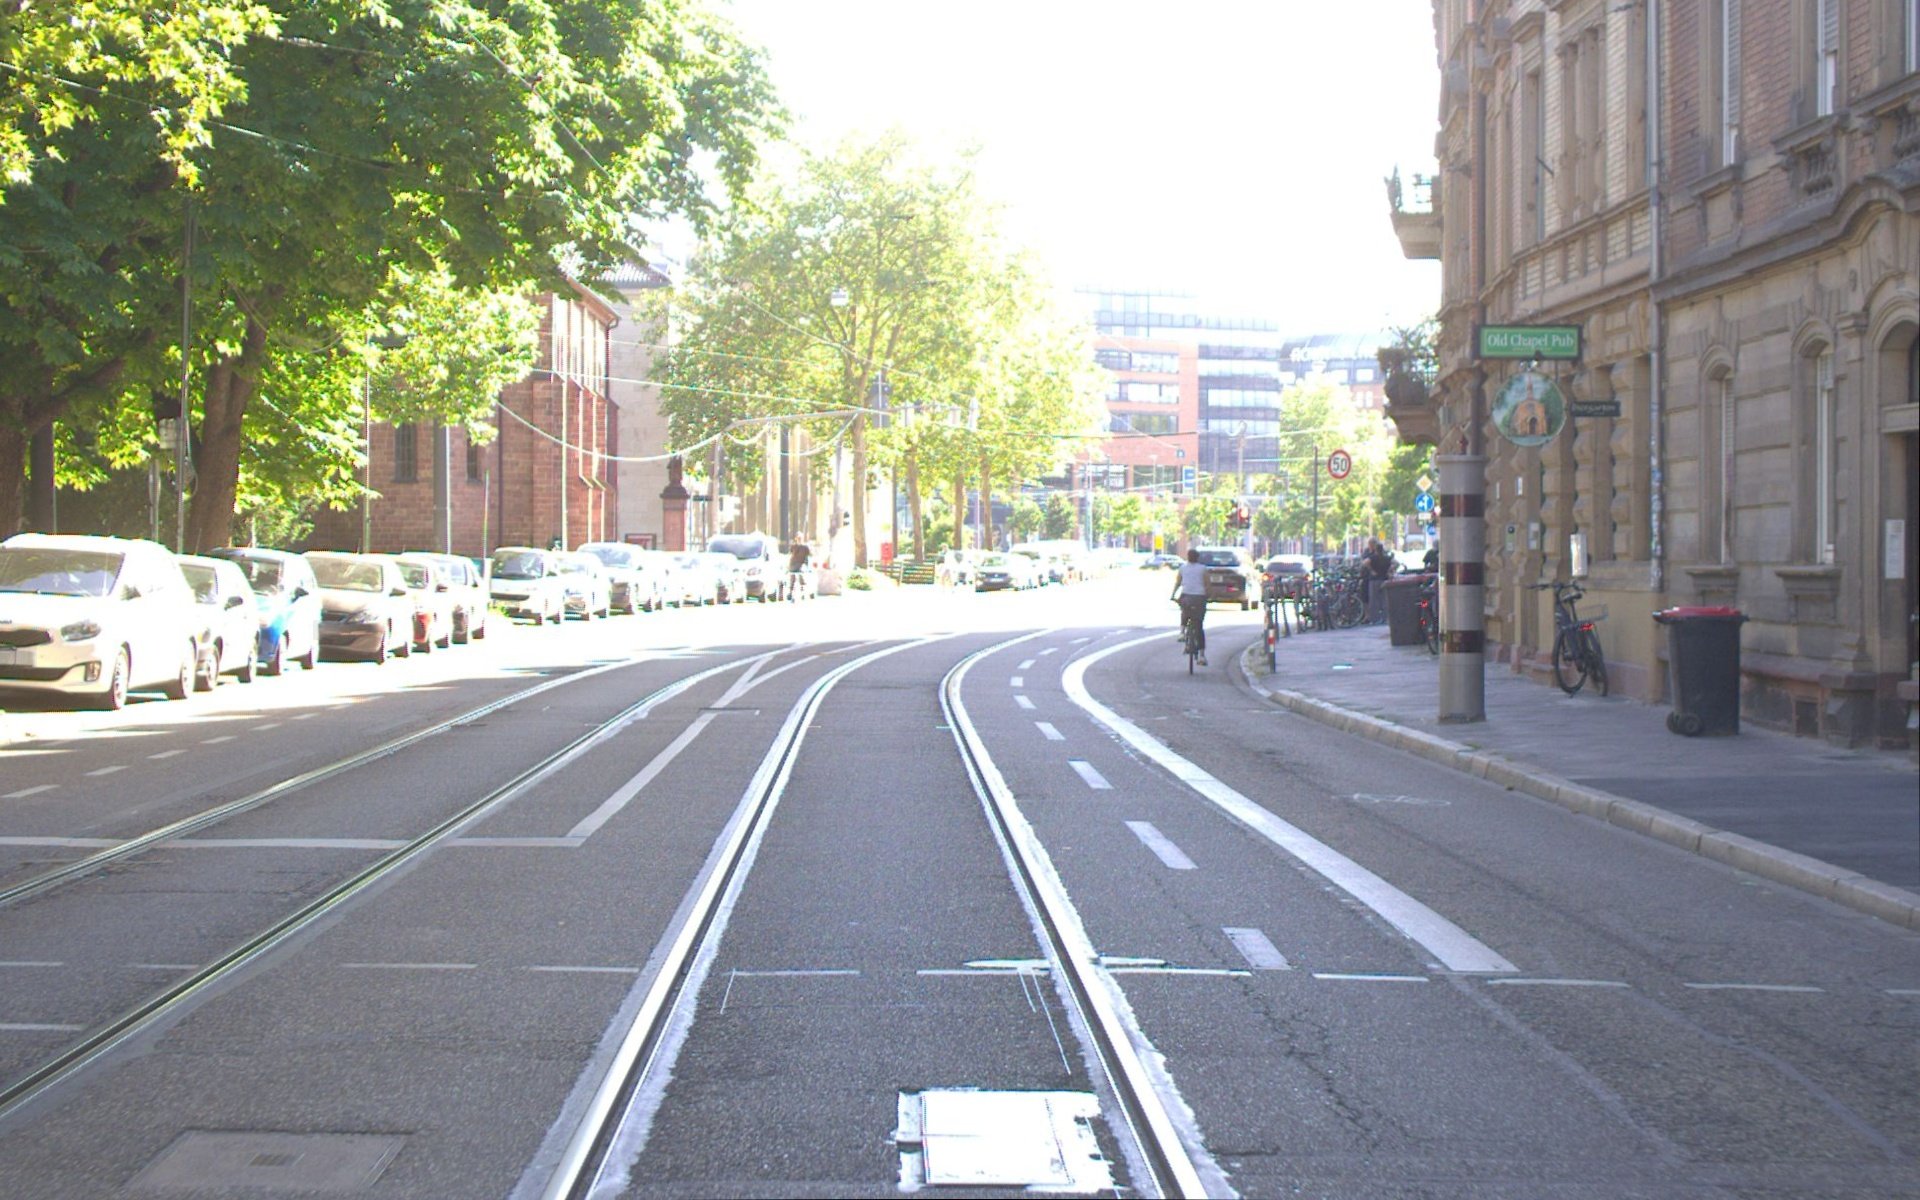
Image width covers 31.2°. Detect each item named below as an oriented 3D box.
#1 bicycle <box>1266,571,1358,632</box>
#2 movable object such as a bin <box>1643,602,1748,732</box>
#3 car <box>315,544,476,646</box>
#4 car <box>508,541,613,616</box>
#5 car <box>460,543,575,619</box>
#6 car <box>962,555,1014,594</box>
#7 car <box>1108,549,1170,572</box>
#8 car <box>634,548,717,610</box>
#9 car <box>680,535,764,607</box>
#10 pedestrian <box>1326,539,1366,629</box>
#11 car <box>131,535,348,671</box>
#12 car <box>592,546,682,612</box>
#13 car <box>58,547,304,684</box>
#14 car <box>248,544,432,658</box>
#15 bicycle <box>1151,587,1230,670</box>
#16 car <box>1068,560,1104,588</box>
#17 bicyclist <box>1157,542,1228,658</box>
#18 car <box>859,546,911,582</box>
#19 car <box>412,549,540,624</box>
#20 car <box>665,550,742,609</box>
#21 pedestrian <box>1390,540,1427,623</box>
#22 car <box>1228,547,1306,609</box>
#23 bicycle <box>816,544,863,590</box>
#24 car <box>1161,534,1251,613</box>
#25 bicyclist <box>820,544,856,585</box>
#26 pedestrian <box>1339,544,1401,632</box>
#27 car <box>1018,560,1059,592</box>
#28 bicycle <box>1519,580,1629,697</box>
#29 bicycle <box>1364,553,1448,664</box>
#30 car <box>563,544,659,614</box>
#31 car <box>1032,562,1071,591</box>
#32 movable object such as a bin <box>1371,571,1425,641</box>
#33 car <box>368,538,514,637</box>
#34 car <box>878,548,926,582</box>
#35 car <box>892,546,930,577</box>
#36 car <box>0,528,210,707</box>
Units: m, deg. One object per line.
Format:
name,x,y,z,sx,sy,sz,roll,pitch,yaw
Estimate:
bicycle,6.652,0.035,64.931,0.641,1.114,2.292,2,0,36
movable object such as a bin,6.039,0.542,28.247,0.673,1.032,0.813,0,2,-1
car,-8.892,-0.090,54.428,1.748,1.500,4.043,2,0,2
car,-8.903,-0.480,76.881,1.748,1.581,4.043,2,0,2
car,-9.210,-0.406,71.811,1.748,1.490,4.043,2,0,2
car,1.083,-0.978,130.720,1.748,1.417,4.043,2,0,3
car,12.201,-2.674,234.167,4.032,1.417,1.753,2,0,9
car,-7.625,-0.555,92.412,1.748,1.581,4.043,2,0,2
car,-7.088,-0.873,102.651,2.058,2.045,4.043,2,0,2
pedestrian,8.209,-0.336,73.015,0.784,1.882,0.970,2,0,7
car,-9.017,0.024,43.352,1.748,1.581,4.043,2,0,2
car,-8.168,-0.533,87.205,1.748,1.581,4.043,2,0,2
car,-8.767,0.150,39.002,1.748,1.417,4.043,2,0,2
car,-8.762,-0.002,48.868,1.748,1.504,4.043,2,0,2
bicycle,3.174,0.377,47.543,0.856,1.084,2.487,2,0,-1
car,6.632,-1.359,180.191,1.748,1.417,4.043,2,0,3
bicyclist,3.193,-0.008,47.246,0.838,1.552,0.965,2,0,-1
car,-3.057,-1.465,140.338,1.748,1.417,4.043,2,0,3
car,-9.310,-0.271,66.378,1.748,1.359,4.043,2,0,2
car,-7.267,-0.582,97.609,1.748,1.581,4.043,2,0,2
pedestrian,10.329,-0.422,79.196,0.784,1.882,0.970,2,0,7
car,9.683,-0.698,108.690,2.027,1.842,4.298,2,0,0
bicycle,-4.286,-1.178,122.804,1.234,1.567,2.896,2,0,6
car,6.536,-0.714,91.614,1.993,2.007,4.000,2,0,-1
bicyclist,-4.367,-1.272,122.780,1.078,1.423,1.146,2,0,7
pedestrian,8.369,-0.246,70.229,1.054,1.754,1.332,2,0,-1
car,3.686,-1.122,161.251,1.748,1.417,4.043,2,0,3
bicycle,6.155,0.369,34.580,0.639,1.114,2.297,2,0,-1
bicycle,6.418,0.117,49.306,0.971,1.510,3.244,2,0,11
car,-8.328,-0.502,82.328,1.748,1.581,4.043,2,0,2
car,4.580,-1.166,171.109,1.748,1.417,4.043,2,0,3
movable object such as a bin,6.960,0.090,54.612,0.695,1.089,0.742,2,0,-3
car,-8.836,-0.214,58.847,1.748,1.581,4.043,2,0,2
car,-2.527,-1.523,150.378,1.748,1.417,4.043,2,0,3
car,-2.673,-2.096,189.211,1.748,1.619,4.043,2,0,3
car,-8.661,0.132,33.335,1.748,1.602,4.043,2,0,2
